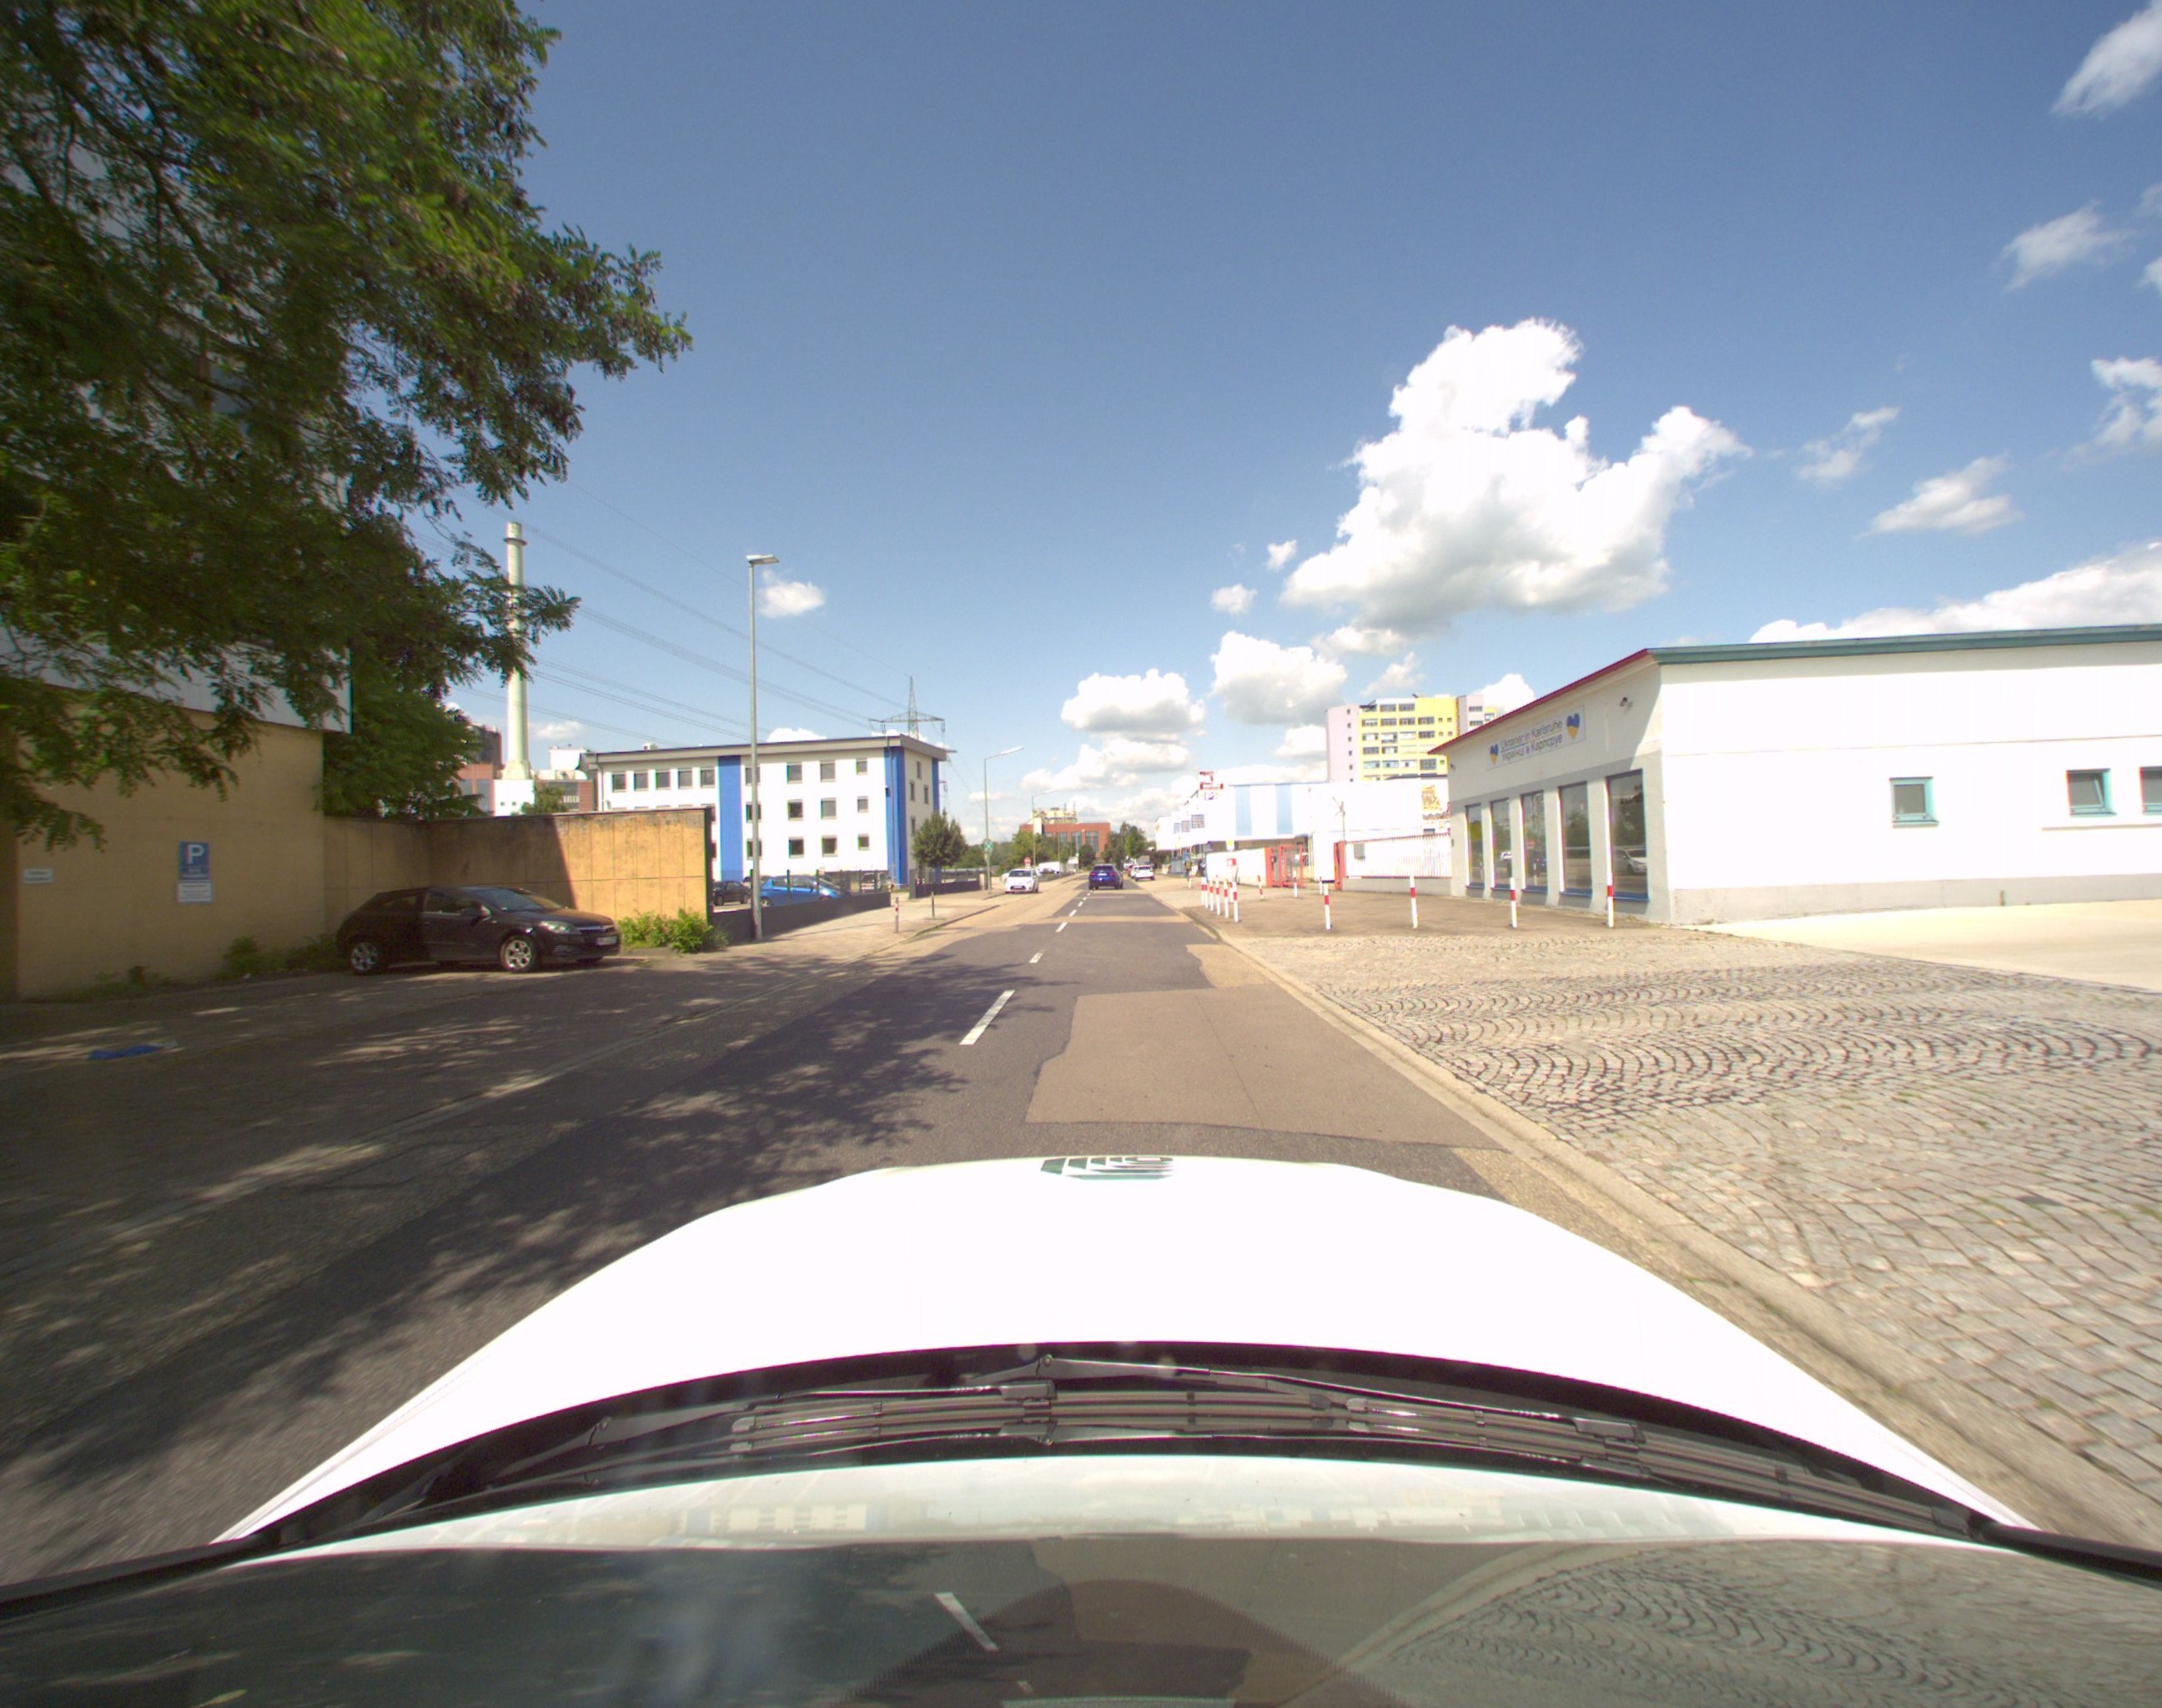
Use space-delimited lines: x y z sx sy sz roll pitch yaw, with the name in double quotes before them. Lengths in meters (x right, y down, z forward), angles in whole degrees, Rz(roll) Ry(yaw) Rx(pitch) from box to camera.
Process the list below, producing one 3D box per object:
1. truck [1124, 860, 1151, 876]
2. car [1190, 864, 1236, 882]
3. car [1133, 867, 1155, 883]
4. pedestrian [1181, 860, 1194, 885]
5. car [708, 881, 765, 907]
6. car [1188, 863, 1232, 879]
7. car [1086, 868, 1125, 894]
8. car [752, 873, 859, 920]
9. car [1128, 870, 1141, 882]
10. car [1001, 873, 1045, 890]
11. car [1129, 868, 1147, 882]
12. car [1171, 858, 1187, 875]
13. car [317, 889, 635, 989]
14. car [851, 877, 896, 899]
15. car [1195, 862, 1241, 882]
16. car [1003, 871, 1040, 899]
"truck" 13.723 3.277 197.509 2.298 3.567 9.427 -1 1 33
"car" 12.194 1.713 75.411 3.971 1.420 2.001 -3 -1 2
"car" 6.122 2.033 79.181 1.861 1.520 4.599 -2 -1 2
"pedestrian" 7.917 1.384 60.532 0.766 1.756 0.787 -4 -1 1
"car" -25.325 2.937 60.020 1.814 1.655 4.453 -3 -1 7
"car" 13.511 1.810 85.305 4.262 1.420 2.001 -3 -1 2
"car" 1.667 1.726 53.059 1.898 1.593 4.713 -2 -1 9
"car" -11.157 1.692 33.192 3.634 1.708 1.879 -3 -1 1
"car" 7.327 2.986 110.974 1.747 1.651 4.682 -2 -1 4
"car" -6.537 3.066 91.572 4.742 1.602 1.999 -4 -1 -2
"car" 6.434 2.322 91.985 1.828 1.520 4.462 -2 -1 2
"car" 15.453 1.977 128.597 1.916 2.464 5.262 -2 -1 2
"car" -9.853 1.361 13.457 3.974 1.362 1.796 -2 -1 5
"car" -15.352 2.509 60.518 1.862 1.507 3.767 -3 -1 8
"car" 12.225 1.592 72.709 3.792 1.680 1.792 -2 -1 1
"car" -3.814 1.955 52.979 1.861 1.708 4.754 -1 -1 2
